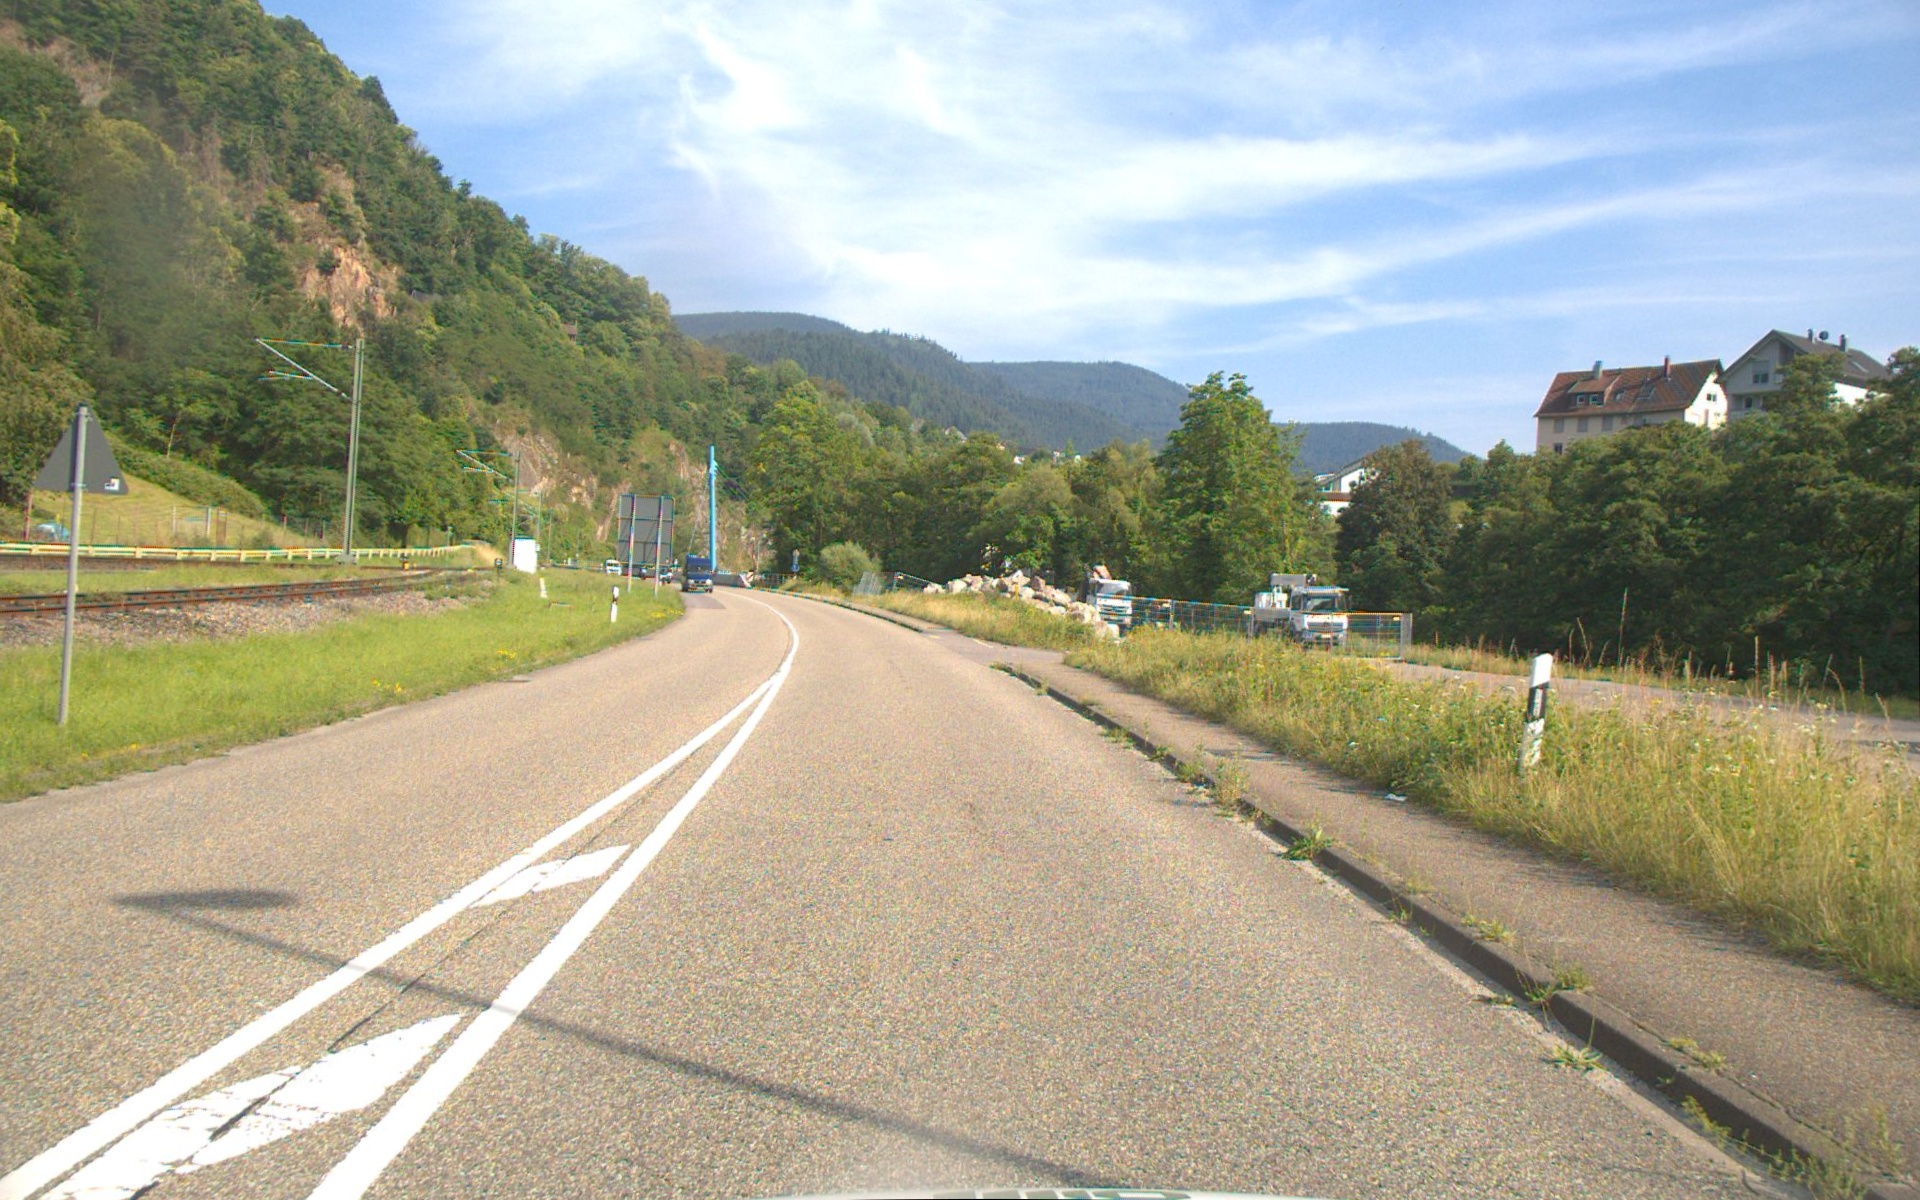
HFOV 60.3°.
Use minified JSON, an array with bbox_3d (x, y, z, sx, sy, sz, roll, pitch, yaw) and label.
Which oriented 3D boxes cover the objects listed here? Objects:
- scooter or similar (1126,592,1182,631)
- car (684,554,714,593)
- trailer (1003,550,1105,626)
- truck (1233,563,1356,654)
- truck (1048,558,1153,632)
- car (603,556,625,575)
[{"bbox_3d":[10.962,0.643,93.846,1.958,2.048,3.989,2,1,-12],"label":"scooter or similar"},{"bbox_3d":[-18.648,-1.895,118.288,2.087,2.661,5.469,1,1,-9],"label":"car"},{"bbox_3d":[5.740,-0.782,103.347,3.309,4.348,9.871,4,0,-14],"label":"trailer"},{"bbox_3d":[15.601,0.306,77.904,3.044,3.847,8.634,4,0,-6],"label":"truck"},{"bbox_3d":[7.919,-0.378,94.390,3.052,3.847,8.612,4,0,-15],"label":"truck"},{"bbox_3d":[-39.102,-3.909,186.780,1.841,1.812,4.576,3,2,-19],"label":"car"}]
